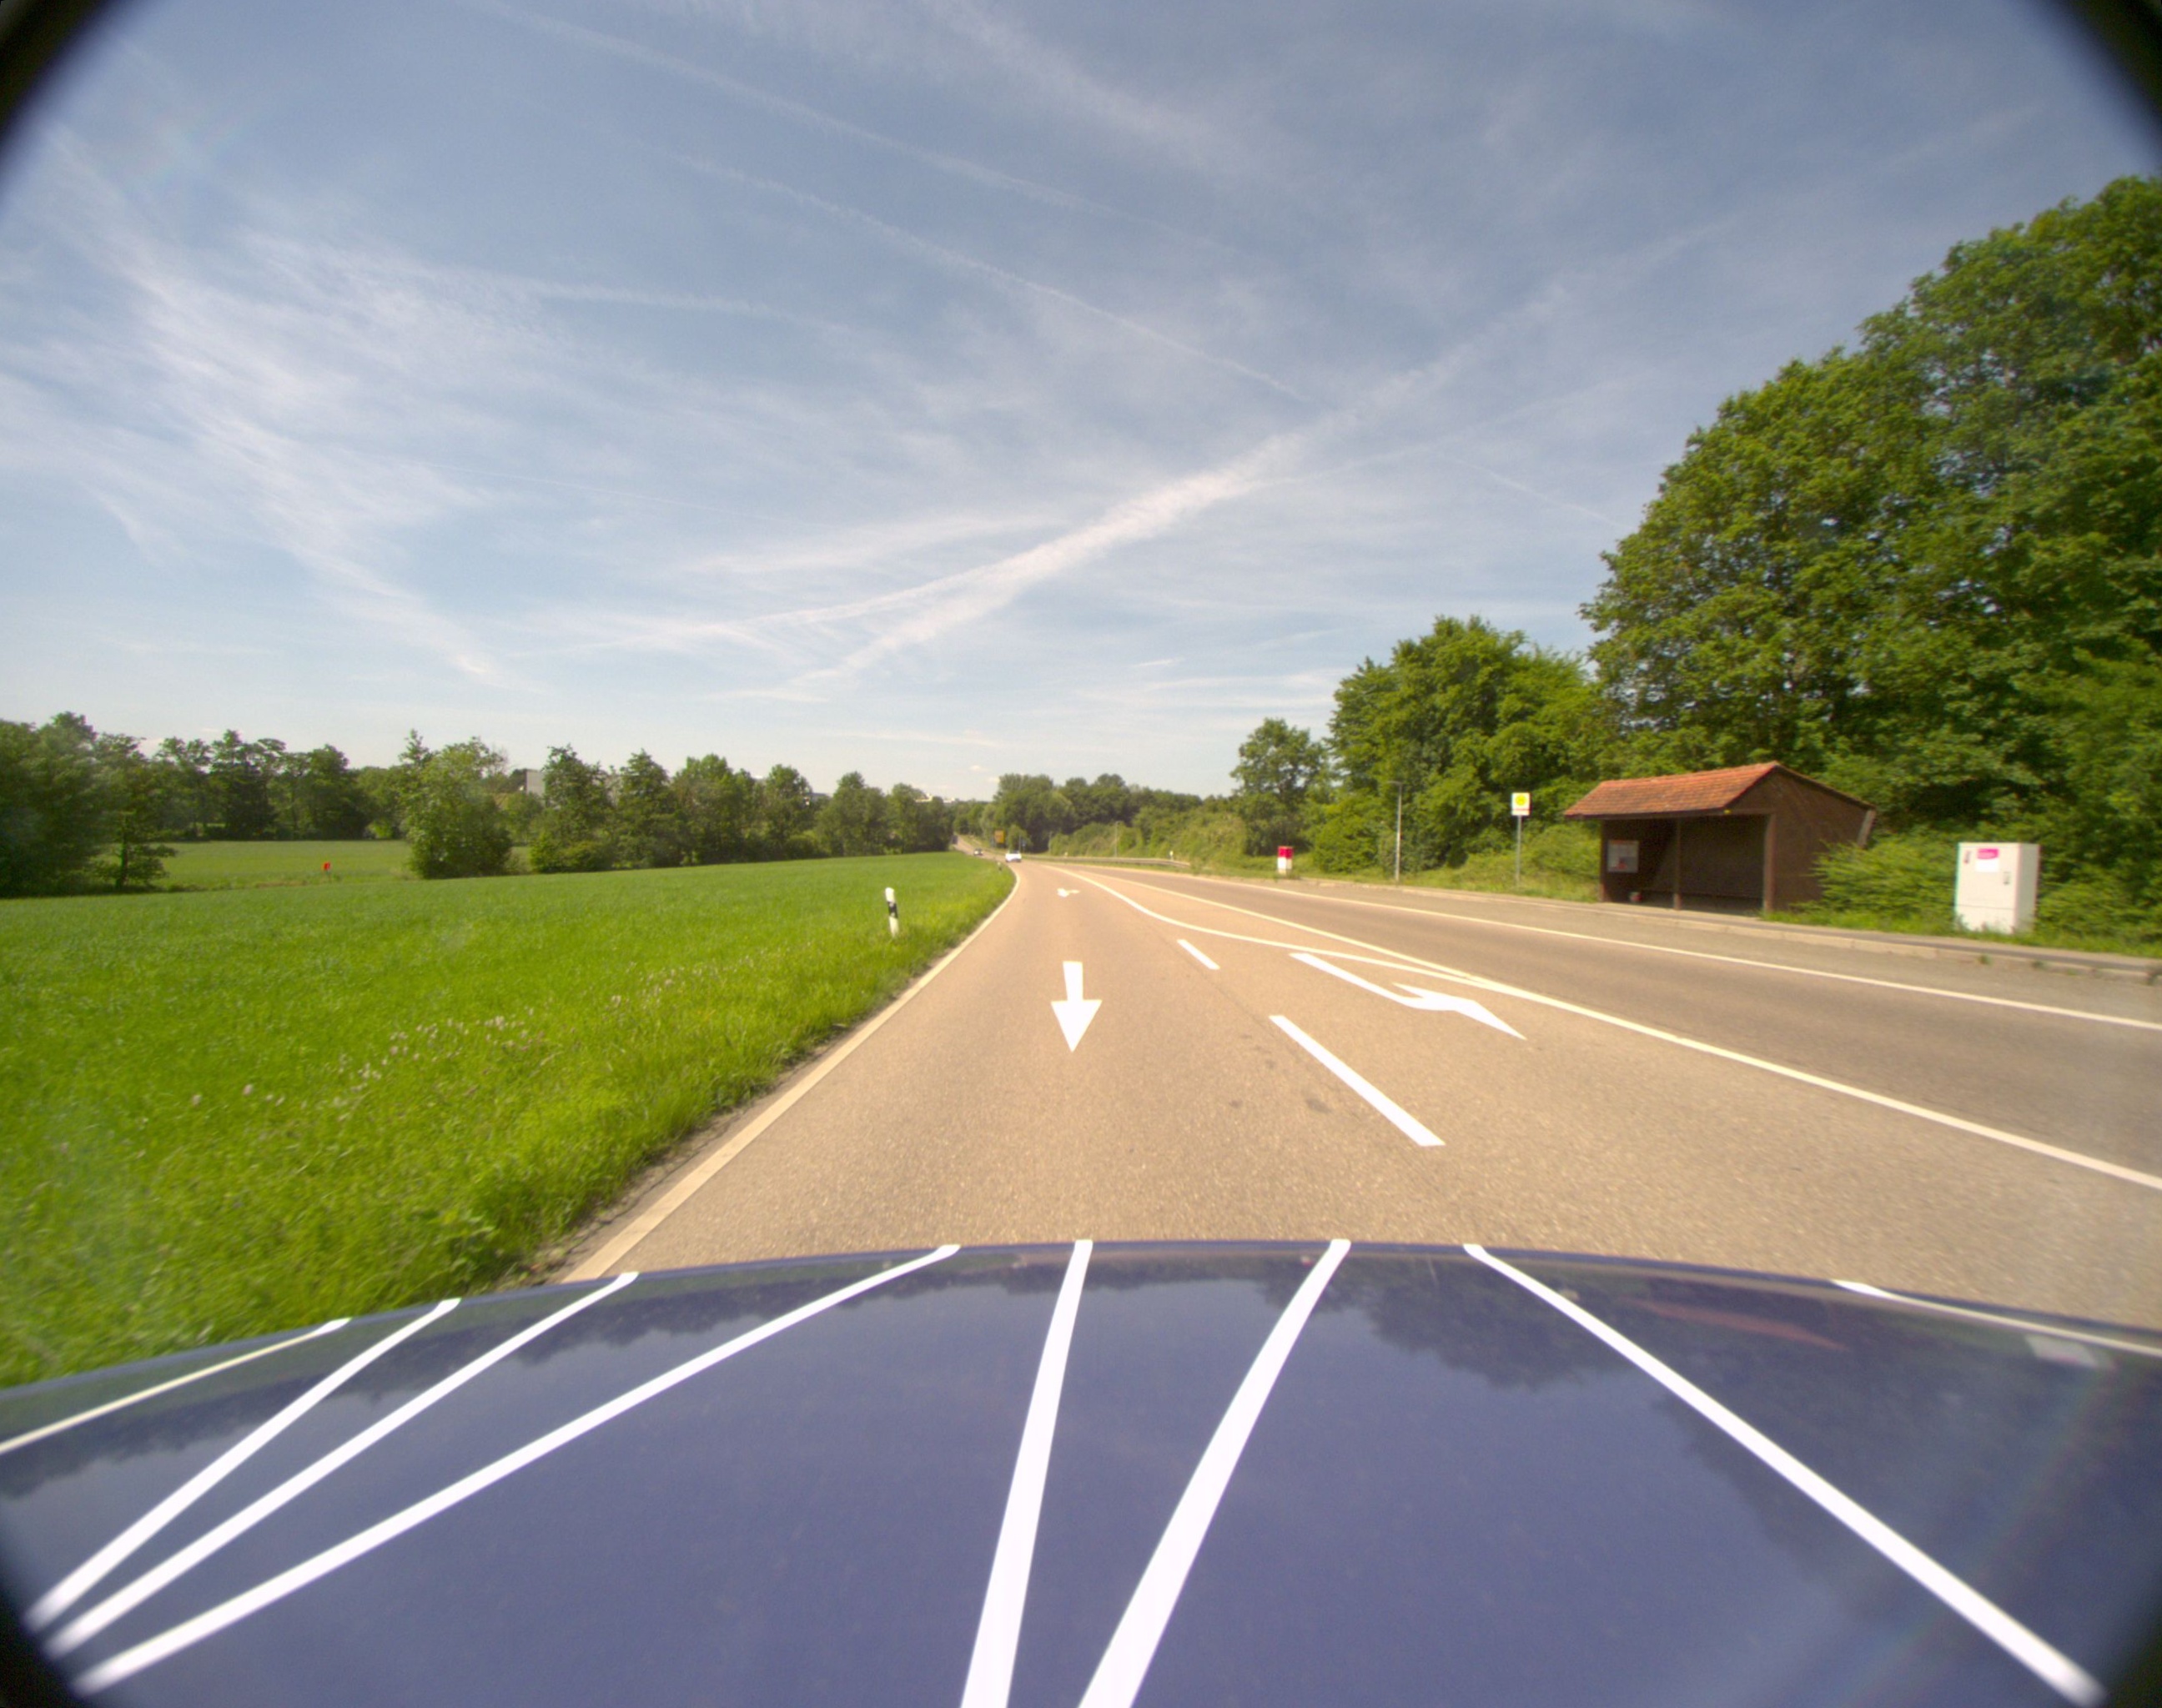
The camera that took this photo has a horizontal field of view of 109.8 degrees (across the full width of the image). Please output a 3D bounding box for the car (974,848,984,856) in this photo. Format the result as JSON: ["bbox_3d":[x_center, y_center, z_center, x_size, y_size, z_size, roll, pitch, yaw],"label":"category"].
[{"bbox_3d":[-21.893,-0.405,162.973,2.000,1.576,3.996,-1,0,-10],"label":"car"}]

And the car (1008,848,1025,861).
[{"bbox_3d":[-8.256,0.026,97.299,2.000,1.576,3.997,-1,1,-7],"label":"car"}]
